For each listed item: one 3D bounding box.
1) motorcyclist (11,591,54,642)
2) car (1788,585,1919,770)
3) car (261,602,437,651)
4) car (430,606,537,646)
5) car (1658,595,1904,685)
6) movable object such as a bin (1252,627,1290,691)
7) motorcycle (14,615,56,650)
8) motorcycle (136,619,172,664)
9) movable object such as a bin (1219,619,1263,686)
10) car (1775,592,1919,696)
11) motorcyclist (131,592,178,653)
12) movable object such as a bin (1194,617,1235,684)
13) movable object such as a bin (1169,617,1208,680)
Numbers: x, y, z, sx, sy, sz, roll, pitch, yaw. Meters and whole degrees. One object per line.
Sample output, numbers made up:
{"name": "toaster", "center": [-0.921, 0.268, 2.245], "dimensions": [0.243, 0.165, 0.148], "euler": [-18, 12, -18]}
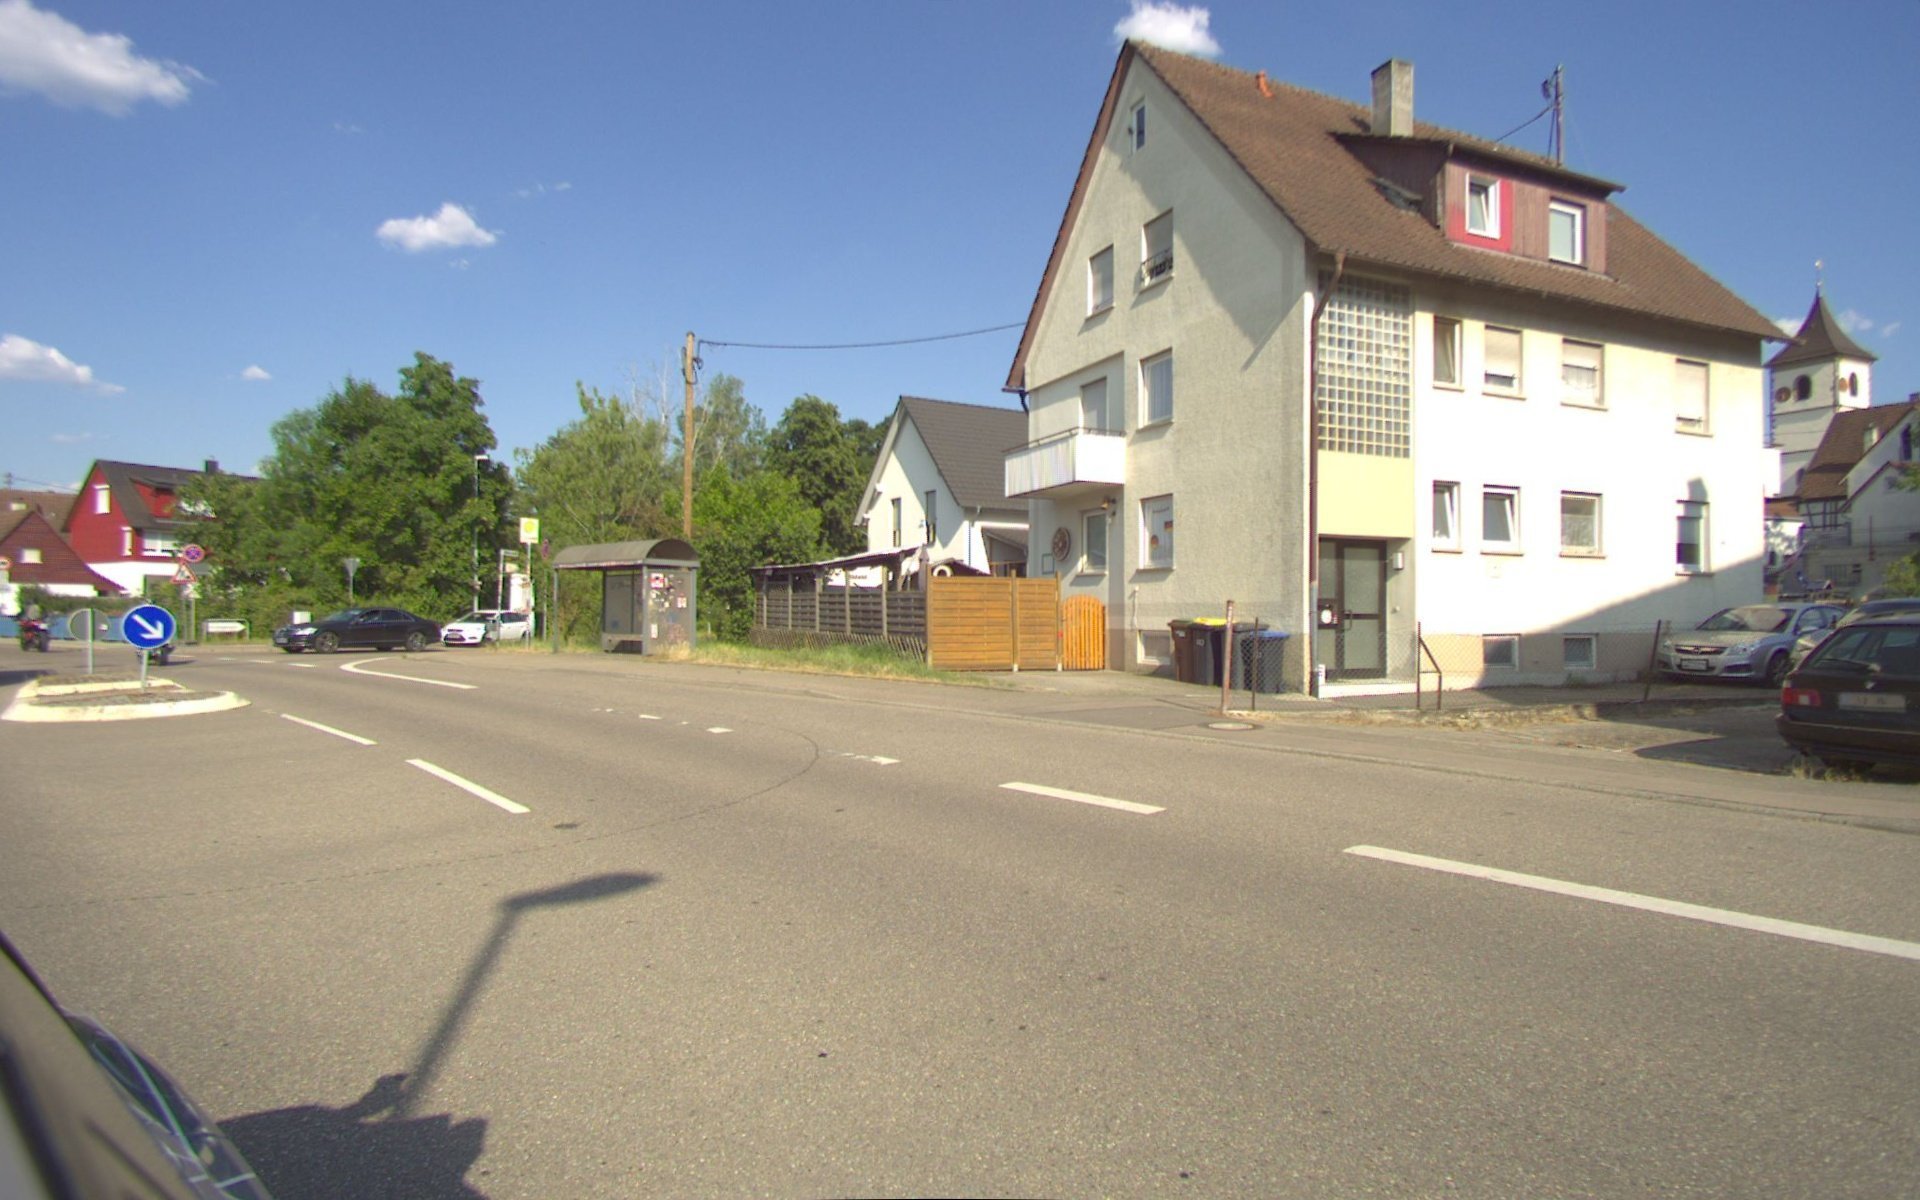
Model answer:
{"name": "motorcyclist", "center": [-28.498, 0.494, 31.097], "dimensions": [1.014, 1.538, 0.730], "euler": [0, 2, 35]}
{"name": "car", "center": [9.347, 0.618, 8.540], "dimensions": [3.932, 1.444, 1.658], "euler": [0, -1, -15]}
{"name": "car", "center": [-19.668, 0.839, 32.863], "dimensions": [1.759, 1.442, 4.808], "euler": [0, -1, 22]}
{"name": "car", "center": [-19.417, 1.050, 41.439], "dimensions": [1.842, 1.503, 4.261], "euler": [1, -1, 10]}
{"name": "car", "center": [14.493, 0.656, 17.876], "dimensions": [3.931, 1.397, 1.554], "euler": [-1, -1, -20]}
{"name": "movable object such as a bin", "center": [4.745, 0.893, 15.455], "dimensions": [0.356, 0.932, 0.401], "euler": [1, 0, -26]}
{"name": "motorcycle", "center": [-28.420, 0.977, 31.085], "dimensions": [2.023, 1.020, 0.533], "euler": [0, 1, 36]}
{"name": "motorcycle", "center": [-19.735, 0.997, 24.776], "dimensions": [0.518, 1.020, 2.030], "euler": [-1, 1, -43]}
{"name": "movable object such as a bin", "center": [4.432, 0.816, 15.966], "dimensions": [0.356, 1.031, 0.579], "euler": [1, 0, -26]}
{"name": "car", "center": [14.645, 0.592, 15.394], "dimensions": [3.931, 1.424, 1.692], "euler": [-1, -1, -20]}
{"name": "motorcyclist", "center": [-19.673, 0.528, 24.710], "dimensions": [0.793, 1.447, 1.037], "euler": [-1, 0, -44]}
{"name": "movable object such as a bin", "center": [4.148, 0.815, 16.499], "dimensions": [0.356, 1.049, 0.560], "euler": [1, 0, -26]}
{"name": "movable object such as a bin", "center": [3.860, 0.812, 17.110], "dimensions": [0.356, 1.023, 0.560], "euler": [1, 0, -26]}
